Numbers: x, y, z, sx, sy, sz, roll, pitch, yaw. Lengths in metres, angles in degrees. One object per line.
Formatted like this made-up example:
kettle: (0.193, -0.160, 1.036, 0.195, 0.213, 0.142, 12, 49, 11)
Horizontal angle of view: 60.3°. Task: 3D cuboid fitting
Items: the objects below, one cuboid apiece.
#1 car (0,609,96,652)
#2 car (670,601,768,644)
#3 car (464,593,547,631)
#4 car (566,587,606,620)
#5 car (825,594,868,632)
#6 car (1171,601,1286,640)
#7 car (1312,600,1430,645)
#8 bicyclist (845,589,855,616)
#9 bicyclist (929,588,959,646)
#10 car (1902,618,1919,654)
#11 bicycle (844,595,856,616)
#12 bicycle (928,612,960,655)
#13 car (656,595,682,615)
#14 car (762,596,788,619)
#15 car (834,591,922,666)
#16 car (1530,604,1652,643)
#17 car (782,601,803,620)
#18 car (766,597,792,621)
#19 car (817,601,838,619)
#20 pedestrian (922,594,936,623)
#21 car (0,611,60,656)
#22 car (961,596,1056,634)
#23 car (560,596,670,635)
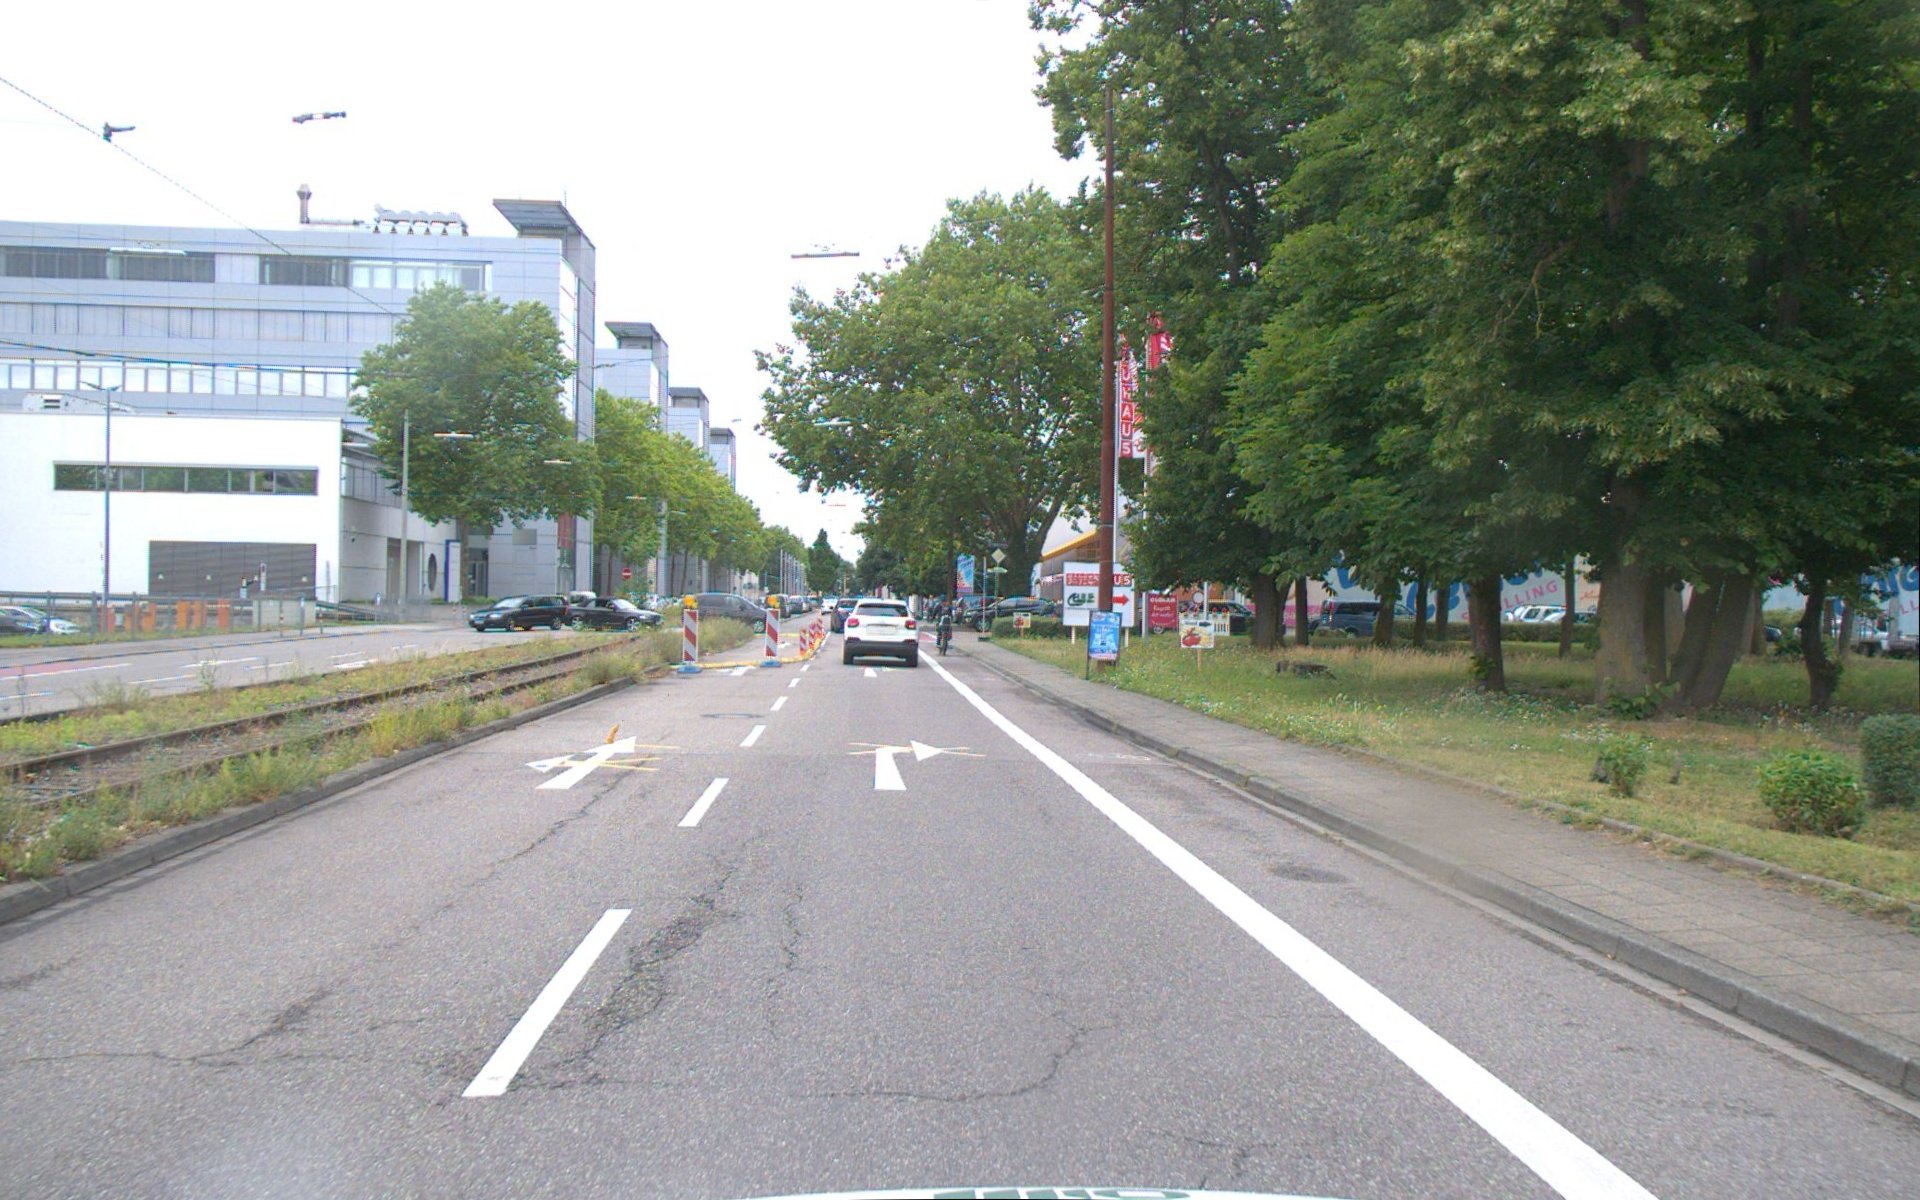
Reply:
car: (-34.071, 1.116, 60.477, 3.910, 1.511, 1.910, 0, 0, -7)
car: (-9.960, 0.939, 68.574, 3.807, 1.583, 1.824, 3, -1, -4)
car: (-18.526, 0.492, 67.619, 1.781, 1.498, 4.429, 0, 0, 6)
car: (-21.149, 0.196, 93.620, 1.785, 1.814, 4.419, 0, 0, -7)
car: (-4.941, 0.556, 71.932, 1.652, 1.540, 3.700, 2, 0, -7)
car: (11.276, 0.850, 69.664, 4.463, 1.599, 1.991, 0, 0, -4)
car: (17.527, 0.951, 70.707, 4.463, 1.821, 2.072, 1, 1, -4)
bicyclist: (-7.653, 0.190, 115.035, 0.658, 1.847, 0.759, 2, 0, -7)
bicyclist: (-0.477, 0.490, 48.585, 0.800, 1.659, 1.234, 0, 0, -4)
car: (44.263, 1.605, 72.846, 4.463, 1.599, 2.072, 0, 0, -4)
bicycle: (-7.646, 0.399, 114.896, 0.658, 1.418, 2.164, 2, 0, -7)
bicycle: (-0.475, 0.965, 48.539, 0.800, 1.234, 2.681, 0, 0, -4)
car: (-25.718, 0.433, 146.231, 1.840, 1.661, 4.201, 0, 0, -5)
car: (-13.784, 0.530, 123.184, 1.840, 1.661, 3.996, 0, 0, -5)
car: (-2.000, 0.628, 39.296, 1.789, 1.628, 3.770, 2, 0, -7)
car: (27.177, 0.997, 71.302, 4.463, 1.599, 2.072, 0, 0, -4)
car: (-15.917, 0.974, 157.309, 1.840, 1.794, 3.996, 0, 0, -5)
car: (-14.101, 0.701, 128.988, 1.840, 1.794, 3.996, 0, 0, -5)
car: (-12.260, 0.953, 152.456, 1.761, 1.540, 3.700, 2, 0, -7)
pedestrian: (-1.896, 0.517, 101.010, 0.746, 1.734, 0.680, 0, 0, -9)
car: (-33.707, 1.145, 57.370, 3.910, 1.511, 1.910, 0, 0, -7)
car: (2.209, 0.673, 76.610, 4.228, 1.706, 1.991, 0, 0, -4)
car: (-14.104, 0.665, 67.672, 4.030, 1.501, 1.826, -1, -2, 19)
